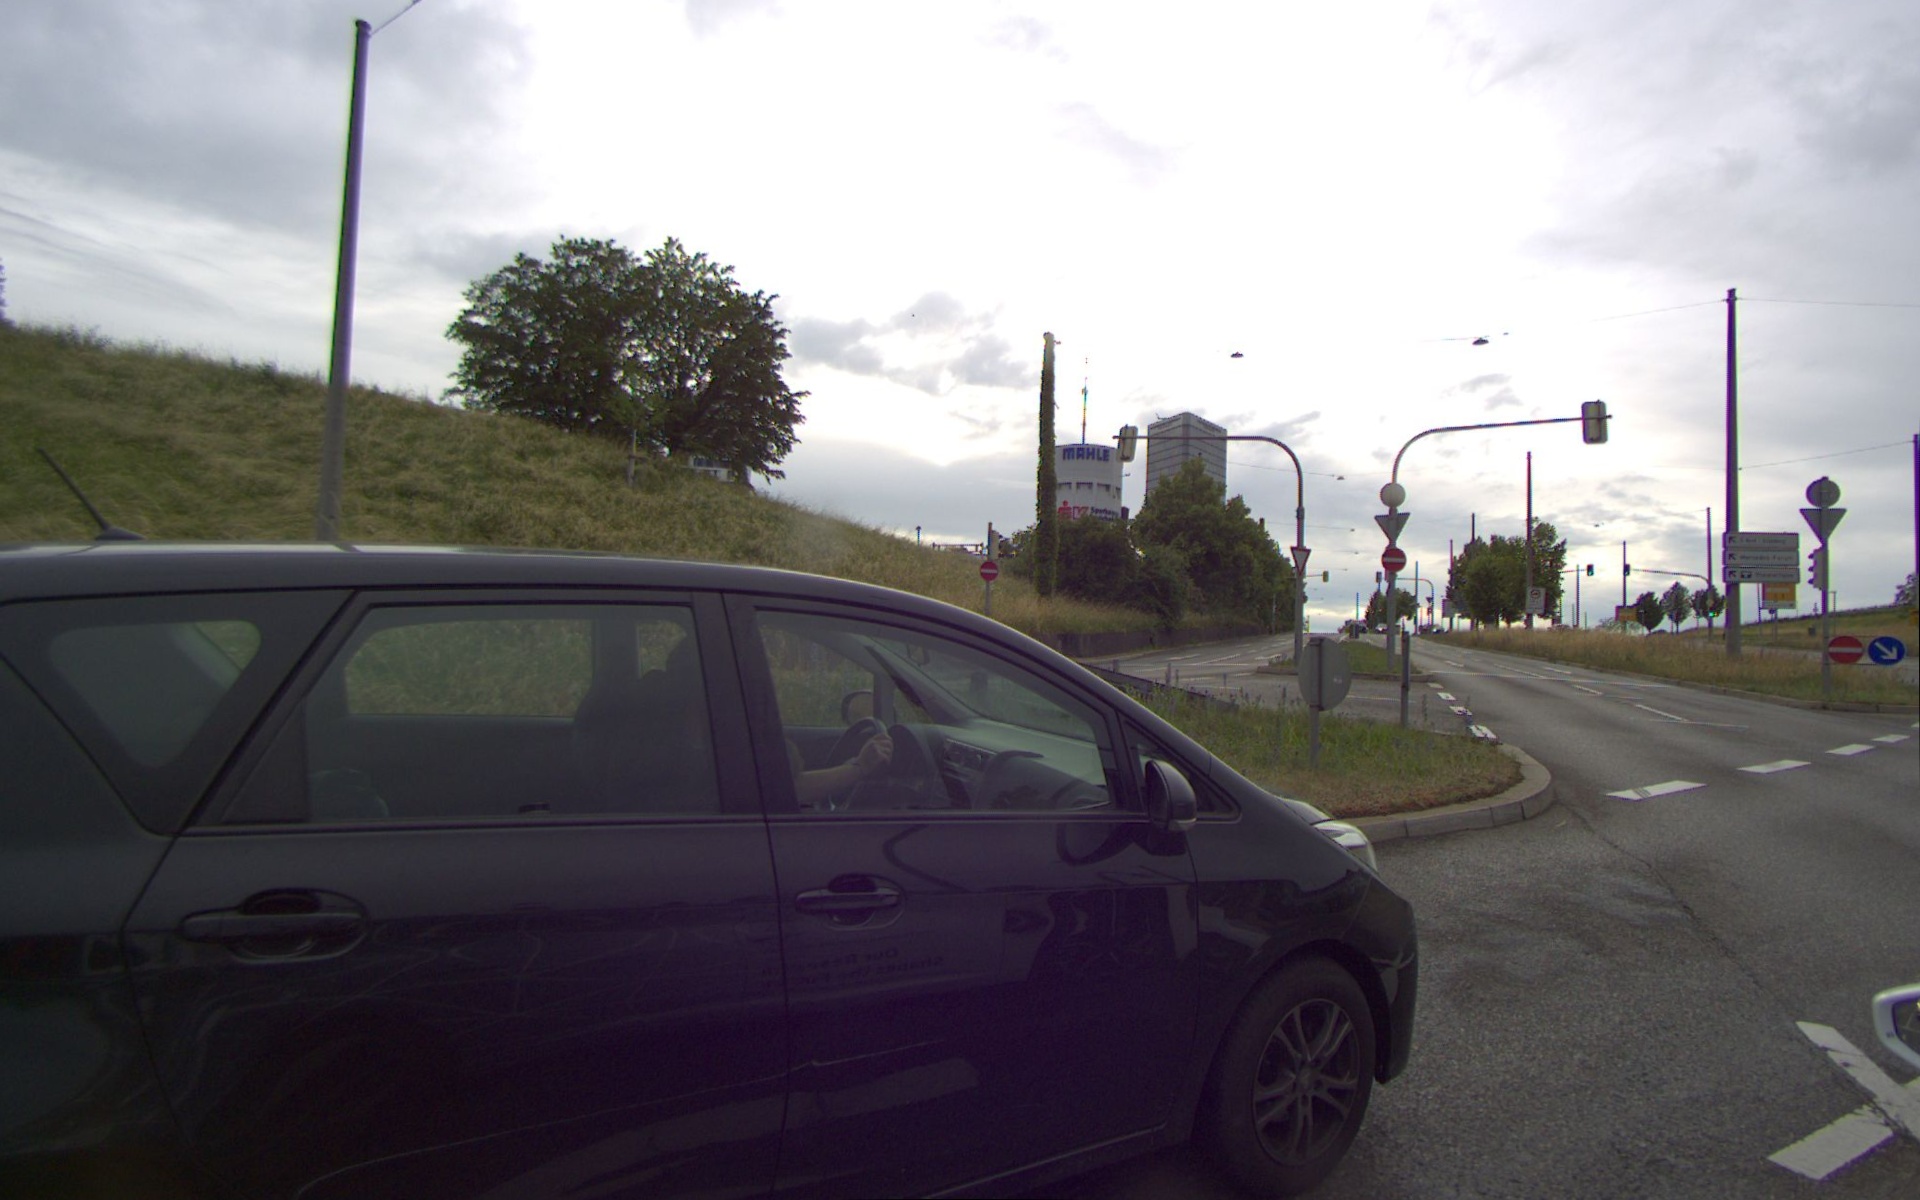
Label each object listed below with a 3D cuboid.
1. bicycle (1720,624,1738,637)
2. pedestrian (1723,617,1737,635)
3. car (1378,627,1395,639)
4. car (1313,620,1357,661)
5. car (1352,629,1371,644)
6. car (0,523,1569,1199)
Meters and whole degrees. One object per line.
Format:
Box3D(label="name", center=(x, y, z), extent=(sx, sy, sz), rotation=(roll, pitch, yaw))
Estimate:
Box3D(label="bicycle", center=(68.717, 2.746, 89.721), extent=(0.622, 1.119, 1.754), rotation=(0, -2, 15))
Box3D(label="pedestrian", center=(68.693, 2.290, 89.604), extent=(0.622, 1.591, 0.896), rotation=(0, -2, 14))
Box3D(label="car", center=(57.134, 4.398, 134.578), extent=(1.780, 1.489, 3.613), rotation=(2, 0, 20))
Box3D(label="car", center=(19.271, 2.062, 51.524), extent=(1.962, 2.040, 3.999), rotation=(-1, -2, 23))
Box3D(label="car", center=(47.553, 4.345, 119.064), extent=(1.830, 1.642, 4.000), rotation=(2, 0, 19))
Box3D(label="car", center=(-0.414, 0.720, 2.741), extent=(3.995, 1.586, 1.787), rotation=(3, 1, -30))
